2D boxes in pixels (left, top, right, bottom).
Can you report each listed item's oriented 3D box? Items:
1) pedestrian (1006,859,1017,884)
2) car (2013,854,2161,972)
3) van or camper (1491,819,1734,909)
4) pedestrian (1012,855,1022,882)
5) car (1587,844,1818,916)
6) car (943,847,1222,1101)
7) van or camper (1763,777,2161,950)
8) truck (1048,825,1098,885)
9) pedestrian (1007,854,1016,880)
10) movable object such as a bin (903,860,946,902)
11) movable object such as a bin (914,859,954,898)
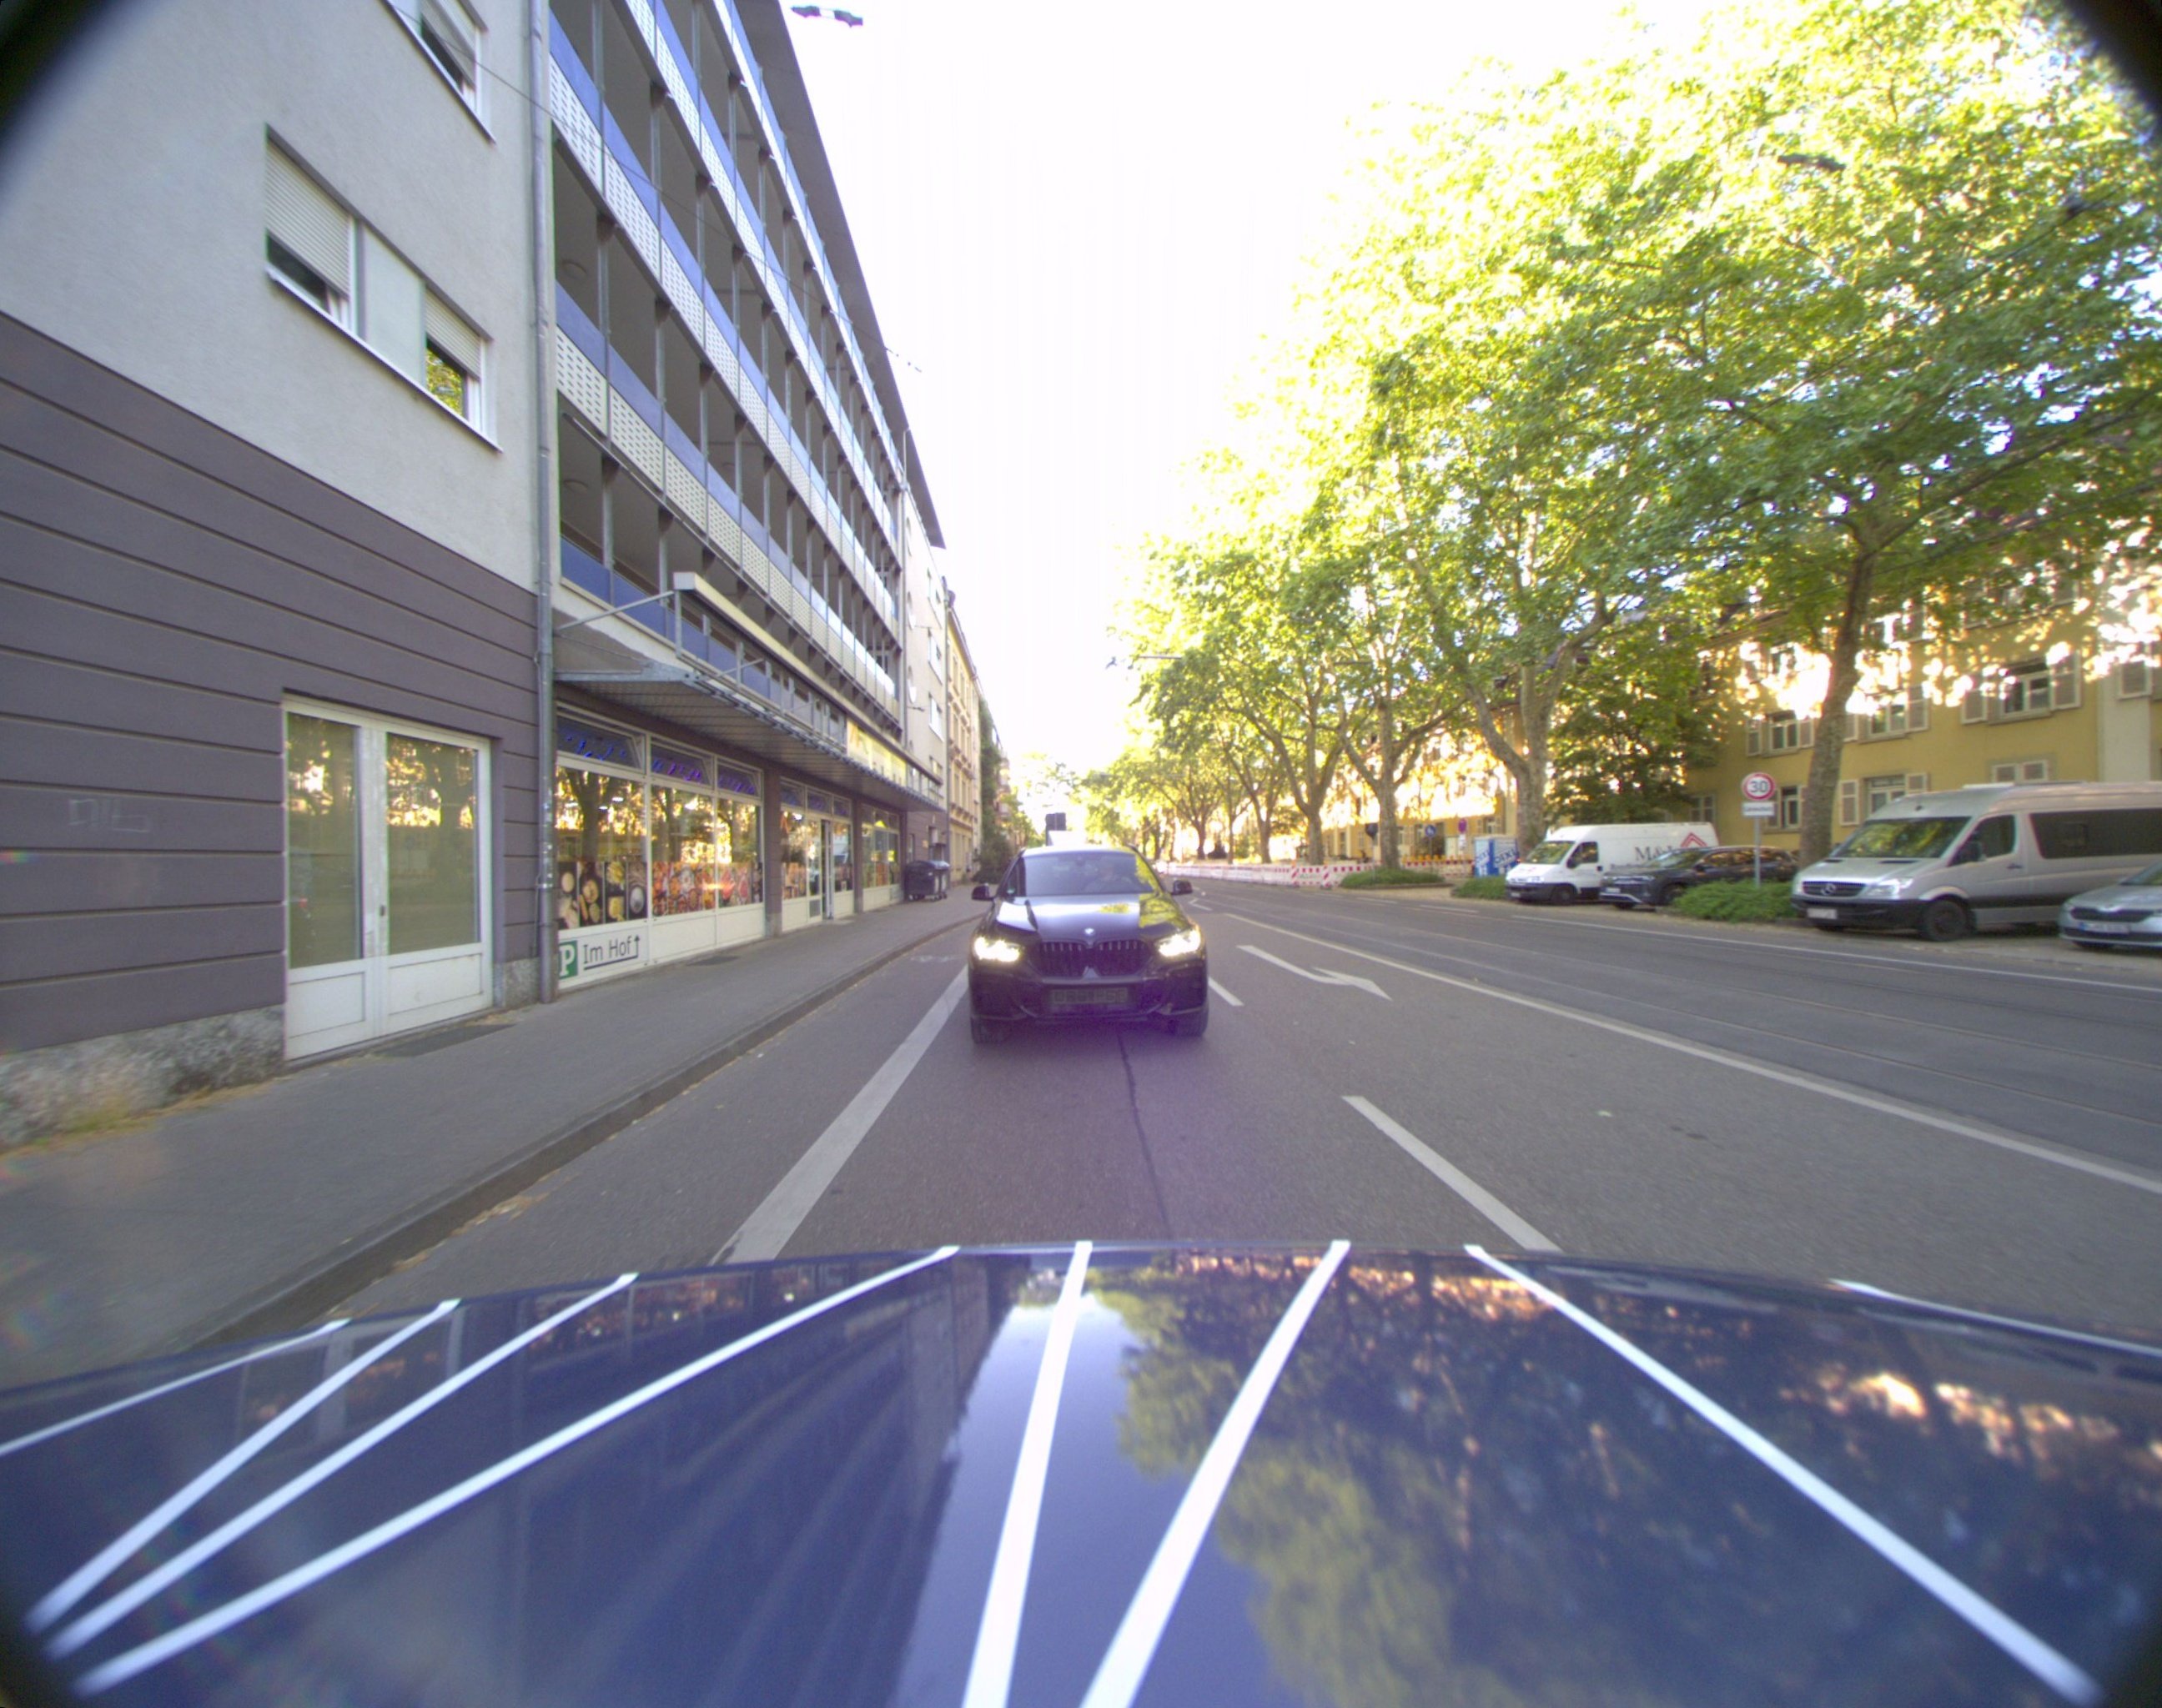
[{"bbox_3d":[-3.907,0.982,42.747,0.541,1.437,0.630,-1,0,0],"label":"pedestrian"},{"bbox_3d":[16.277,0.734,10.663,4.276,1.438,1.693,-2,1,1],"label":"car"},{"bbox_3d":[15.749,0.272,22.752,5.763,2.371,2.156,-2,1,-1],"label":"van or camper"},{"bbox_3d":[-3.985,0.918,47.444,0.541,1.662,0.630,-1,0,0],"label":"pedestrian"},{"bbox_3d":[15.891,0.635,19.578,4.540,1.624,1.693,-2,1,1],"label":"car"},{"bbox_3d":[0.038,0.836,7.768,1.930,1.742,4.683,-2,1,1],"label":"car"},{"bbox_3d":[15.942,0.117,13.382,5.932,2.633,2.156,-2,1,-1],"label":"van or camper"},{"bbox_3d":[-0.525,0.037,42.572,2.344,3.095,5.210,-2,1,-5],"label":"truck"},{"bbox_3d":[-4.517,0.815,49.292,0.541,1.662,0.513,-1,0,0],"label":"pedestrian"},{"bbox_3d":[-5.427,0.933,26.415,1.203,1.402,1.372,-1,0,0],"label":"movable object such as a bin"},{"bbox_3d":[-5.465,0.911,28.414,1.203,1.402,1.372,-1,0,0],"label":"movable object such as a bin"}]
